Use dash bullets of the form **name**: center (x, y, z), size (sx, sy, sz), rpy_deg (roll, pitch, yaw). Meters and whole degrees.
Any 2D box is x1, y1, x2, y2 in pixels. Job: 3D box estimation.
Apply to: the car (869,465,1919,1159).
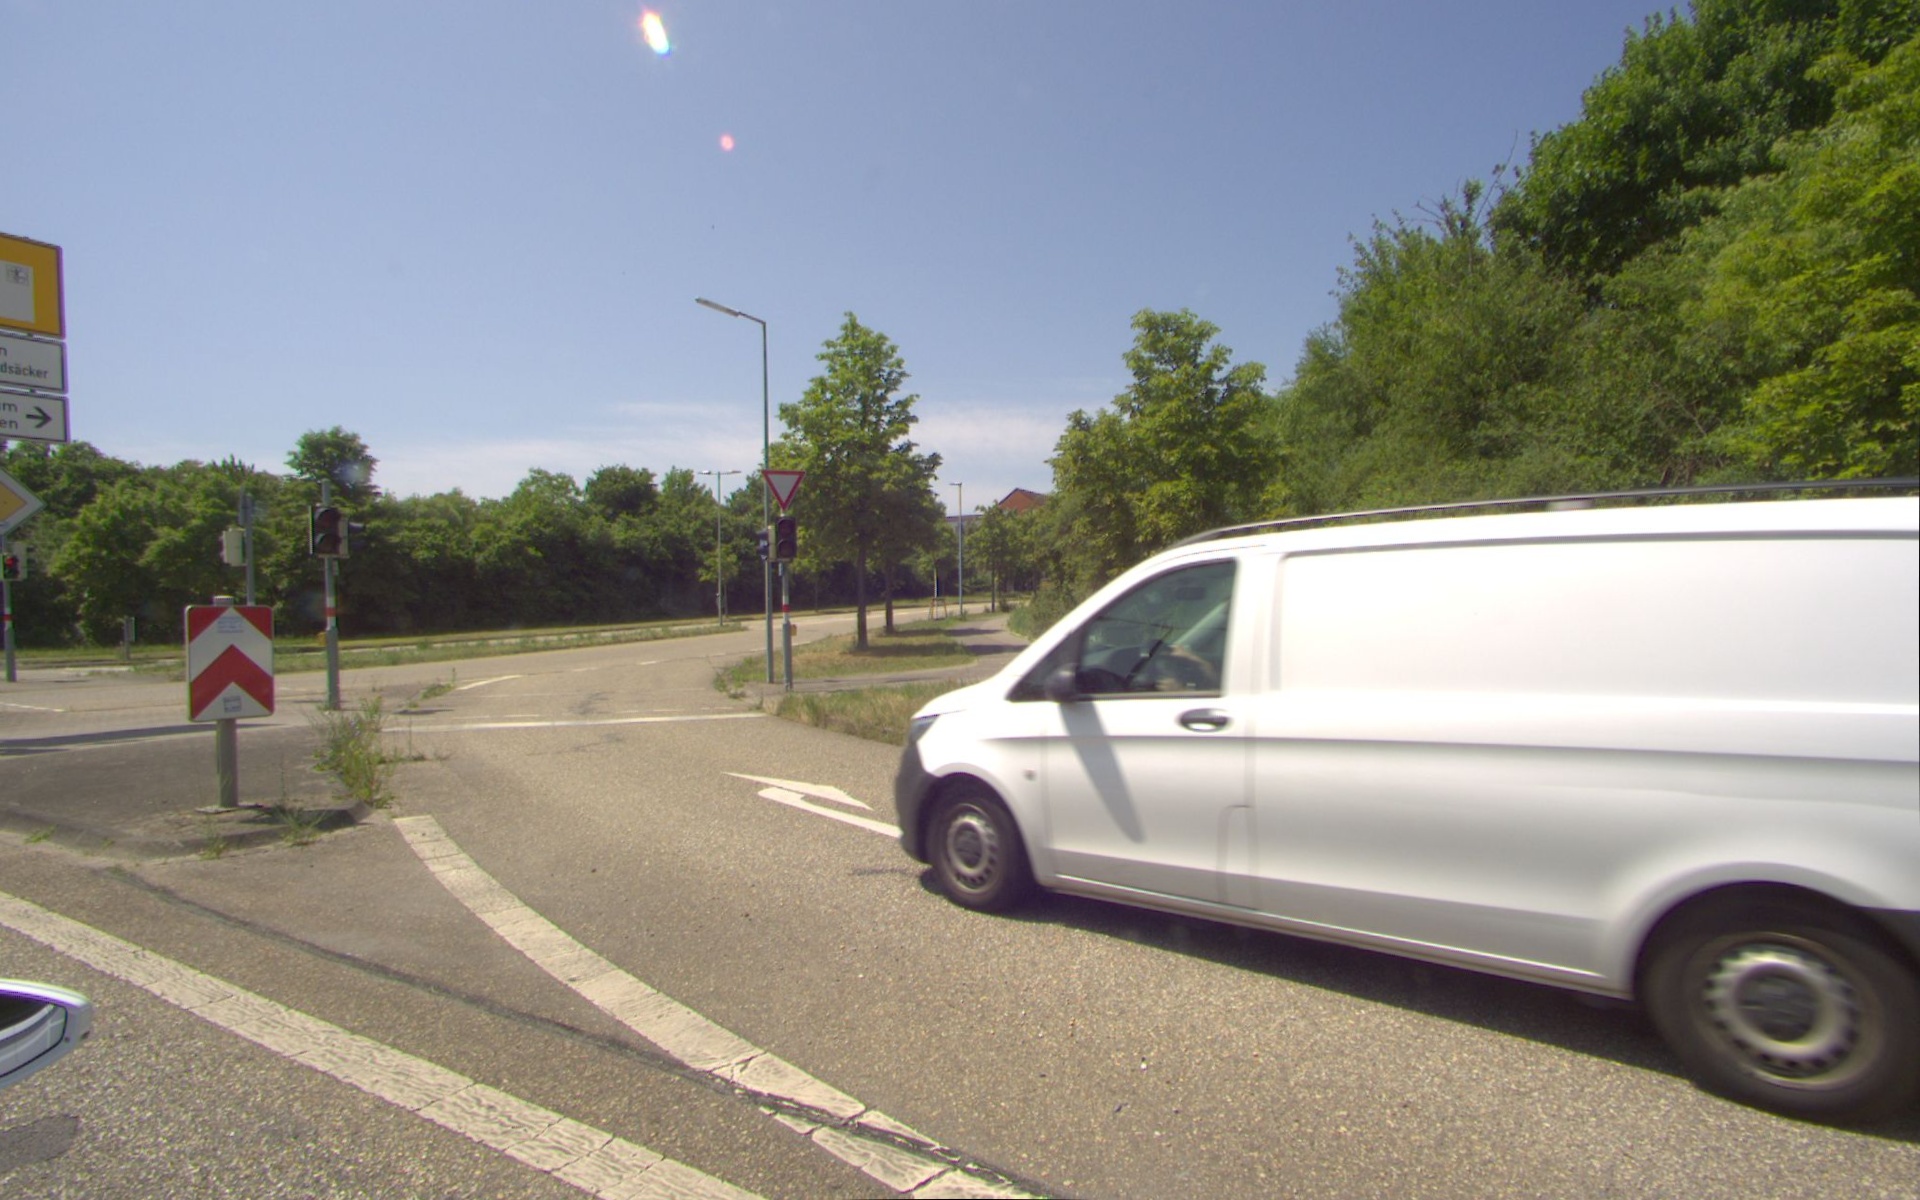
- **car**: center (1.939, 0.583, 4.417), size (4.852, 1.842, 1.851), rpy_deg (-1, 0, 41)
